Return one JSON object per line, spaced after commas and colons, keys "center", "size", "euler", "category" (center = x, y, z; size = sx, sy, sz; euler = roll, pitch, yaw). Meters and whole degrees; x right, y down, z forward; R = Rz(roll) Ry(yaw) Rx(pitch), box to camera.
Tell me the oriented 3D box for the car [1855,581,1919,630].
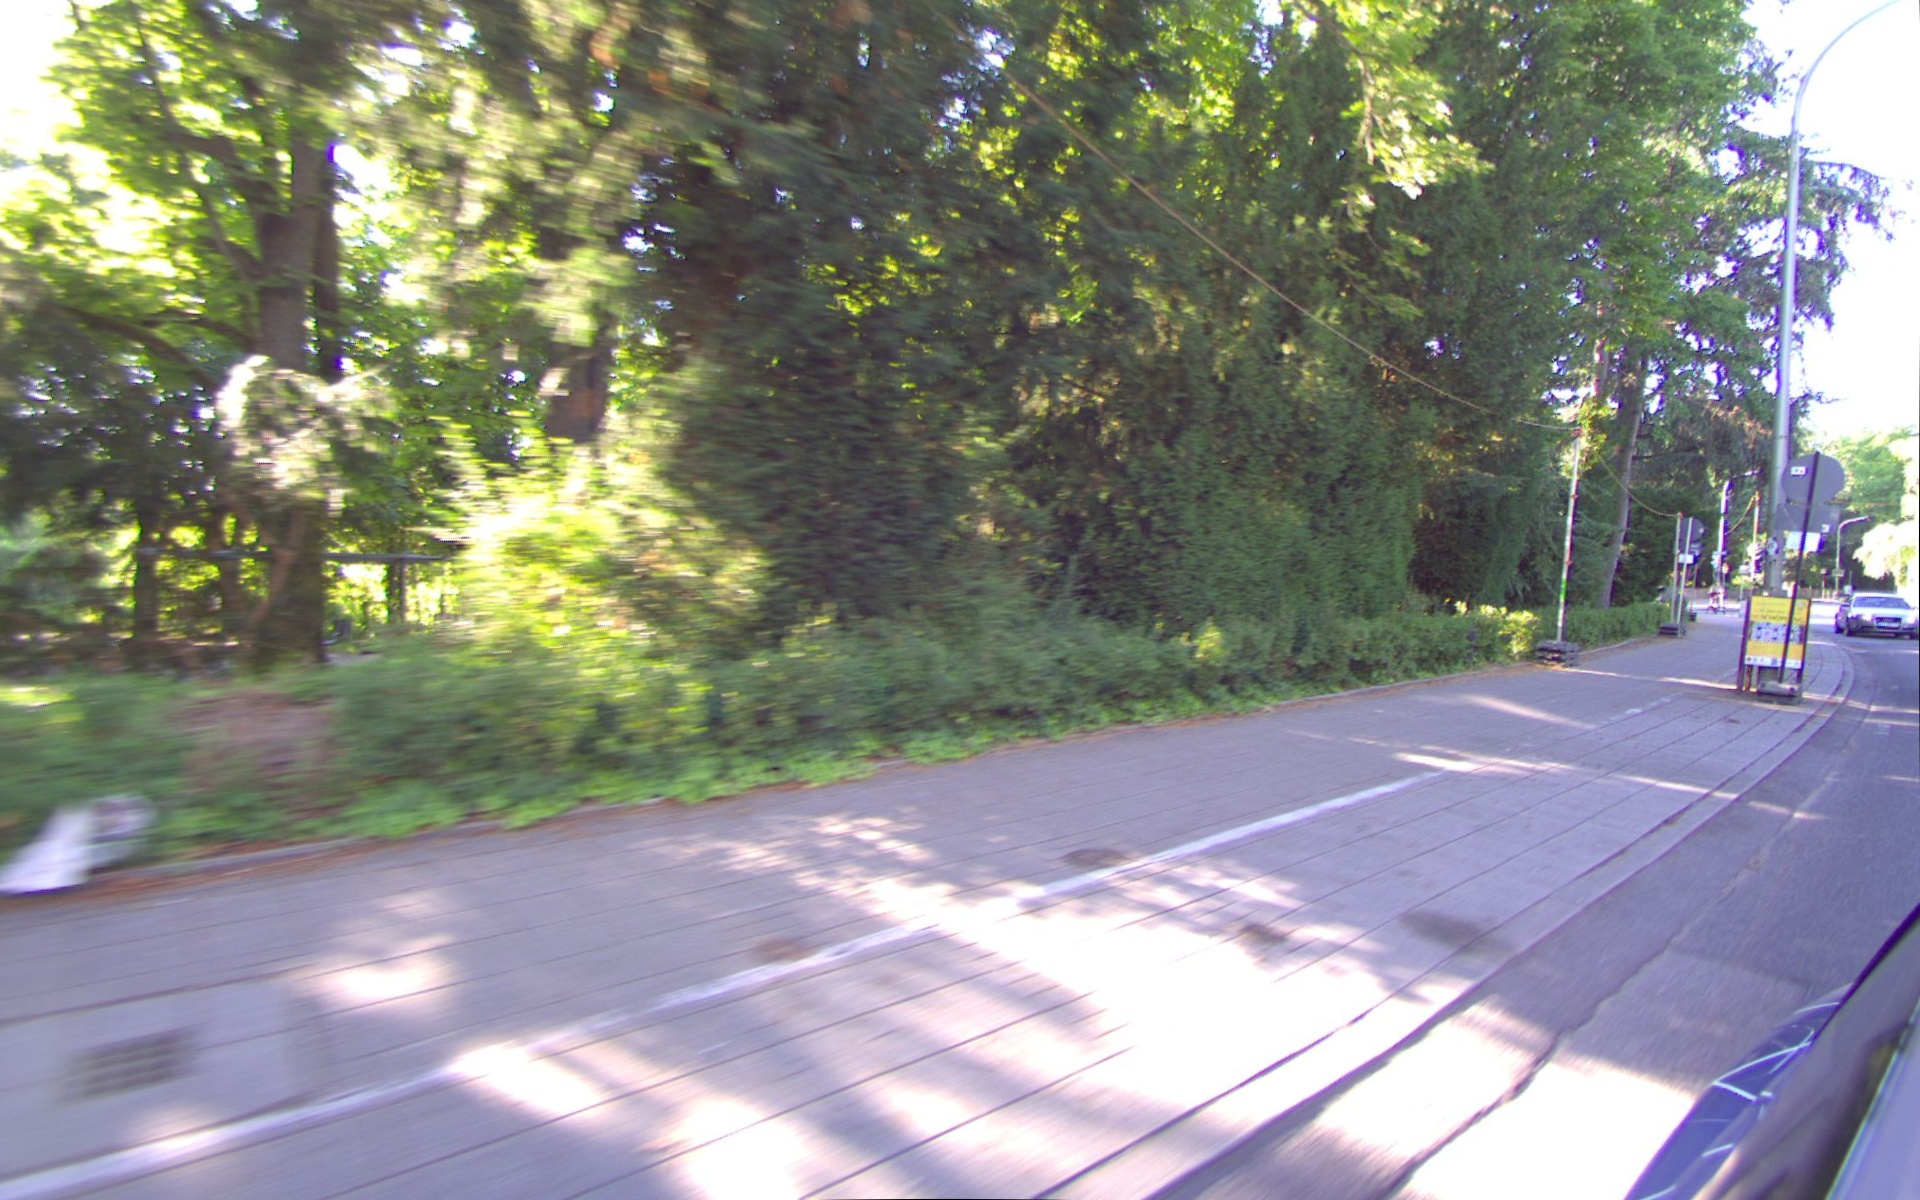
{"center": [30.882, 0.143, 33.375], "size": [1.654, 1.494, 3.635], "euler": [2, 2, 36], "category": "car"}
